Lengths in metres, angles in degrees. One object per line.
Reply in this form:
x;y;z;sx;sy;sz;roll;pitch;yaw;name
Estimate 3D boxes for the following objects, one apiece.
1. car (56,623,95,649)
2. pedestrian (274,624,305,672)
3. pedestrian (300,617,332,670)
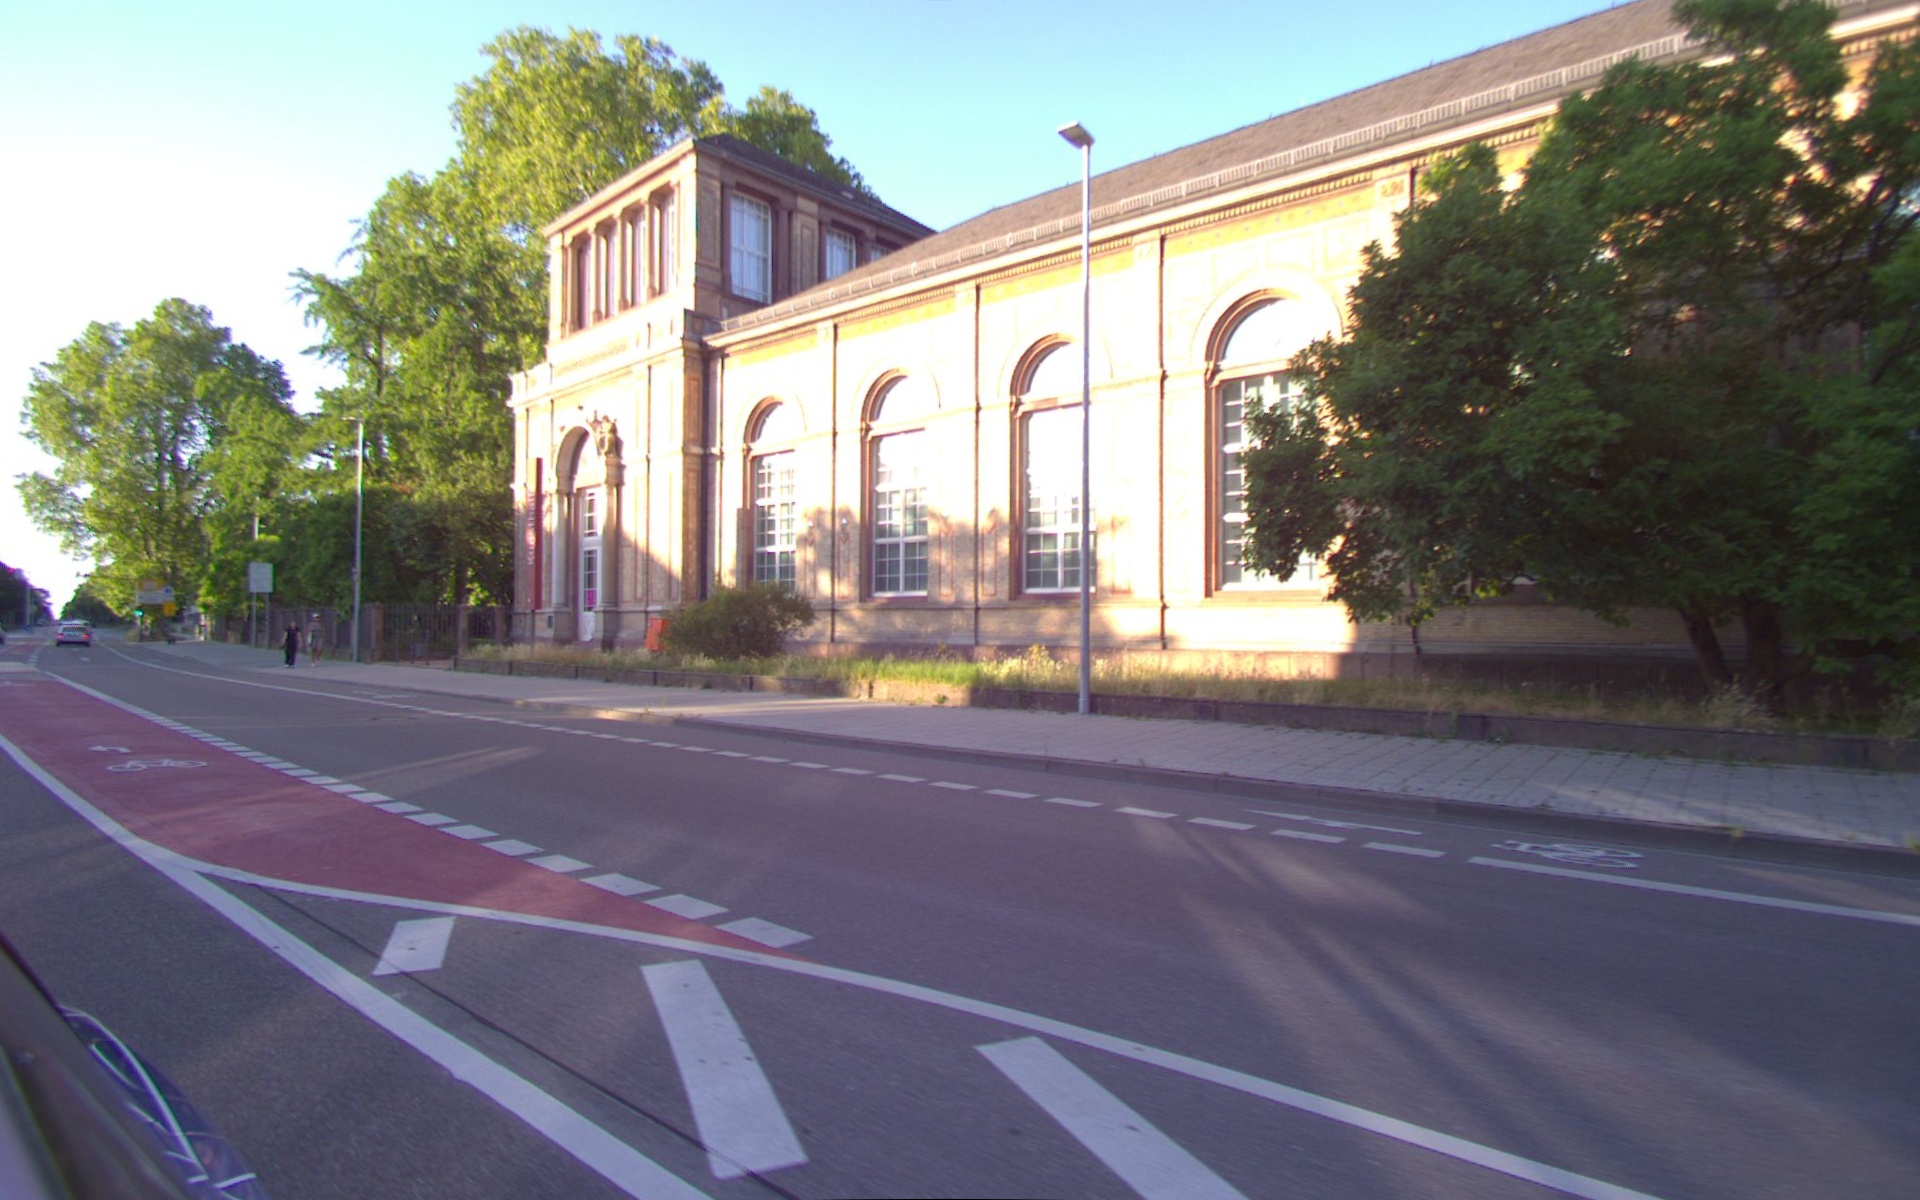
-58.904;2.381;67.376;1.893;1.697;4.004;1;-2;-42;car
-22.284;1.604;33.627;0.665;1.524;0.837;-4;0;-41;pedestrian
-21.643;1.447;34.039;0.795;1.751;0.852;1;-2;-25;pedestrian
